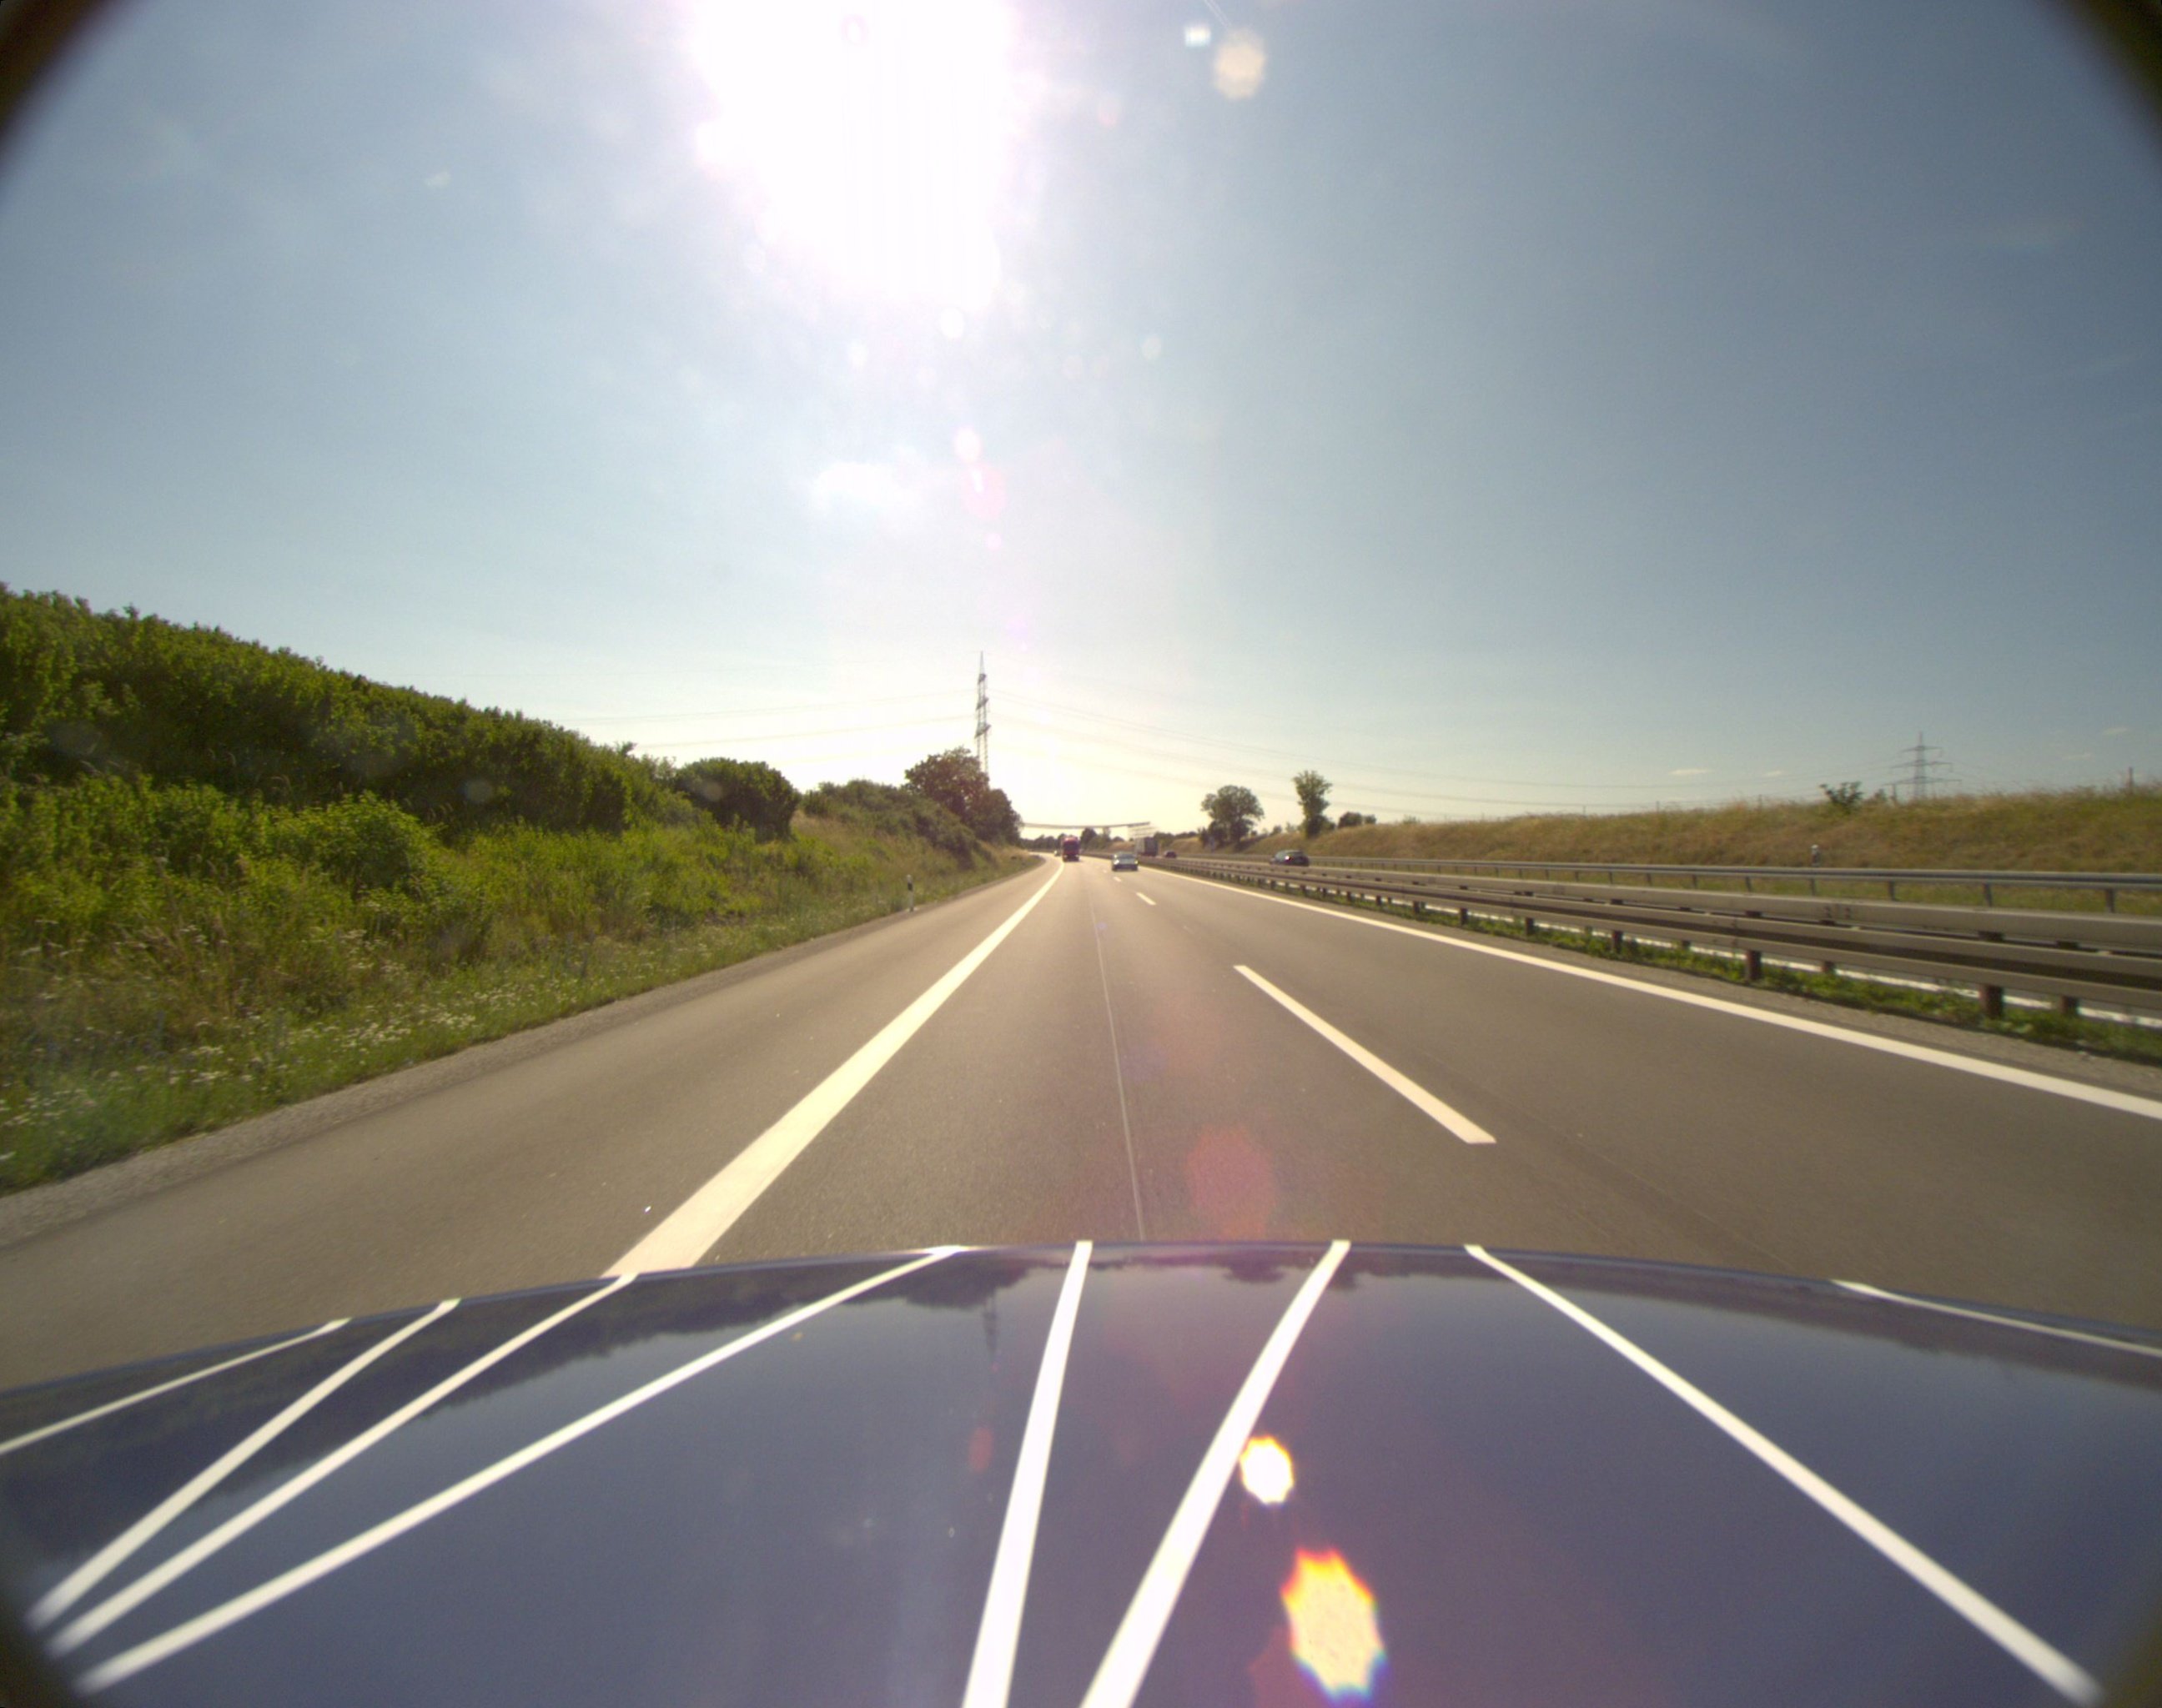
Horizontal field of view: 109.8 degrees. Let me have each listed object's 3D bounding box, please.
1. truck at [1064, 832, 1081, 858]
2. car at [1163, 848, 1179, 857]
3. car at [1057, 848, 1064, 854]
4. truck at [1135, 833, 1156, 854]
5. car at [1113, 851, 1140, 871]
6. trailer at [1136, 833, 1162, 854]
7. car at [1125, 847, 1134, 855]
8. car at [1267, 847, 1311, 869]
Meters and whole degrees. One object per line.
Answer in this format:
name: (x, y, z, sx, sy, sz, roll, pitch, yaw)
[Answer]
truck: (-1.398, -1.449, 124.343, 2.571, 3.939, 8.642, -2, 1, 0)
car: (14.068, -0.217, 119.536, 1.910, 1.352, 4.553, -2, 1, -1)
car: (-5.904, -0.887, 219.960, 1.910, 1.422, 4.553, -2, 1, -1)
truck: (13.317, -2.170, 157.103, 3.624, 3.976, 6.122, -2, 1, -1)
car: (3.567, 0.506, 60.257, 1.852, 1.424, 5.865, 1, 1, 0)
trailer: (13.367, -2.068, 149.828, 3.624, 3.976, 14.045, -2, 1, 0)
car: (9.877, -0.653, 154.774, 1.589, 1.422, 3.926, -2, 1, -1)
car: (14.689, 0.220, 53.957, 1.729, 1.459, 5.240, -1, 1, 0)
